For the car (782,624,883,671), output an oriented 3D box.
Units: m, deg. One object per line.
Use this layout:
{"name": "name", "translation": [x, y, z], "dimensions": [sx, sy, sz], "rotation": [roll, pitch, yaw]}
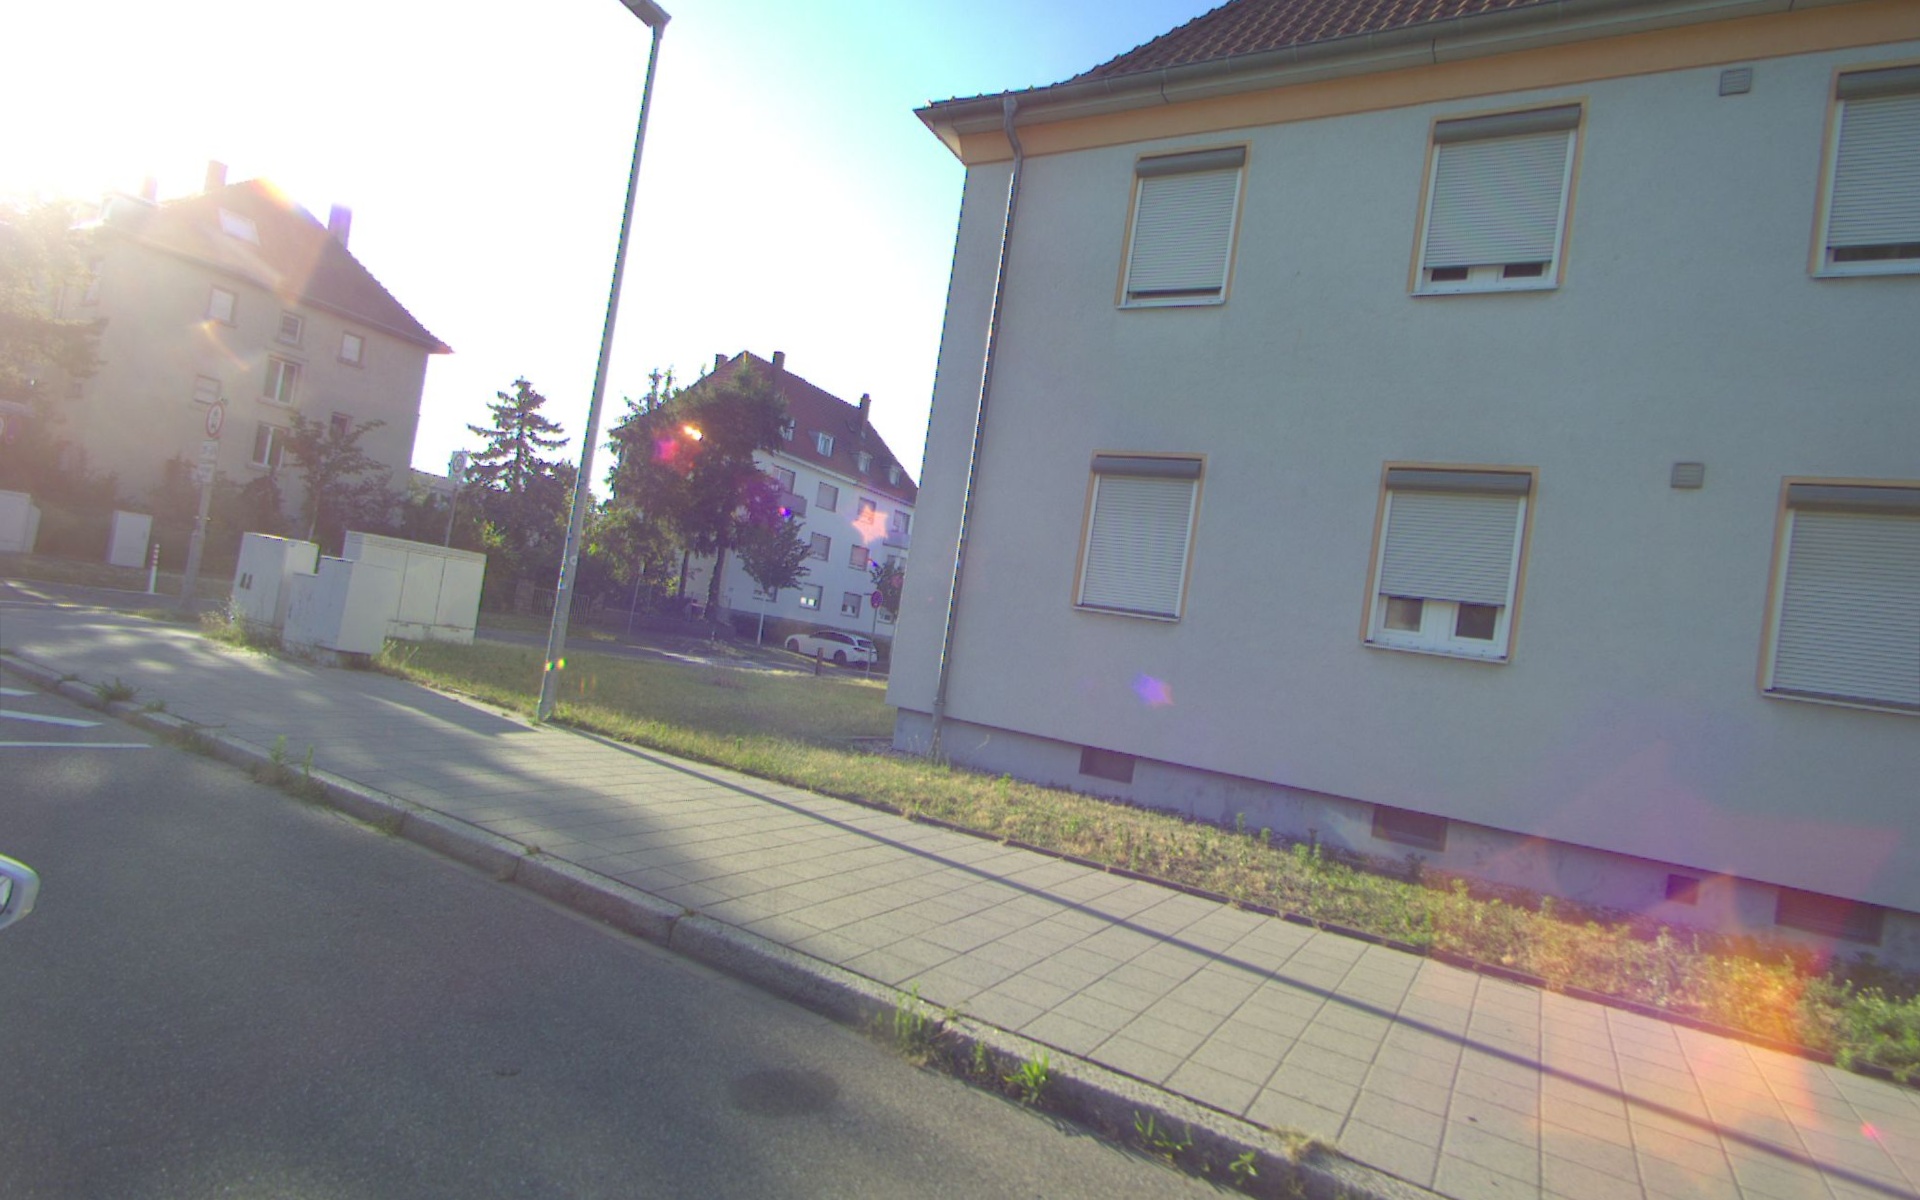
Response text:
{"name": "car", "translation": [-5.949, 2.204, 46.827], "dimensions": [4.370, 1.637, 1.792], "rotation": [6, 0, 29]}
